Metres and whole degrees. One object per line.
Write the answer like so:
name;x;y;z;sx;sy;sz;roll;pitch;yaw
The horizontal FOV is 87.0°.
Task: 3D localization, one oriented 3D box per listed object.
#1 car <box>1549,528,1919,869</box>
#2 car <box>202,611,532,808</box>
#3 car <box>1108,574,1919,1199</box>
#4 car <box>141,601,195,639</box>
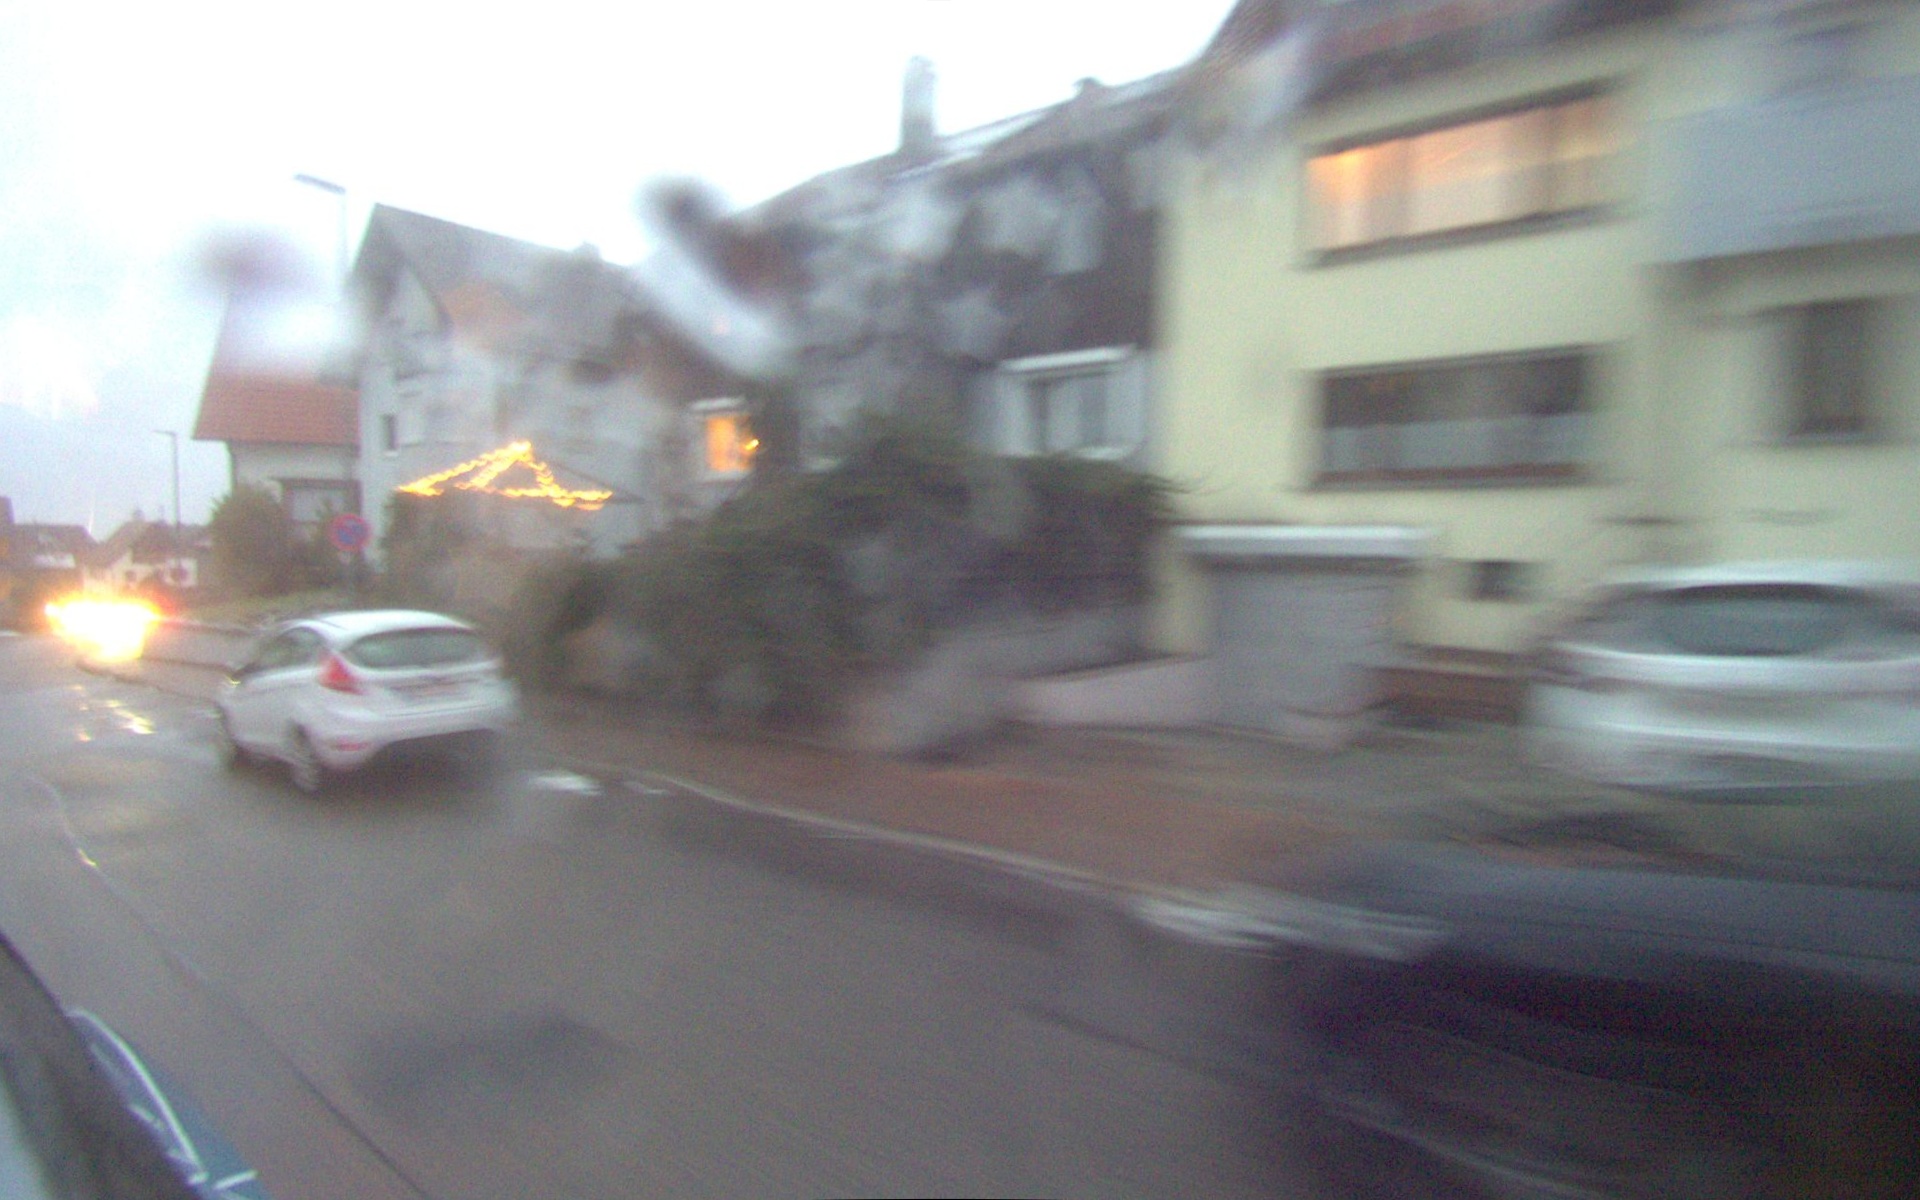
car;5.123;0.398;6.193;3.424;1.539;1.775;-3;1;-45
car;-5.630;0.843;9.433;3.655;1.449;1.601;-1;0;41
car;2.893;0.649;1.658;5.073;1.405;1.858;-1;0;41
car;-44.585;1.084;57.078;2.082;2.042;4.995;-1;0;-34
